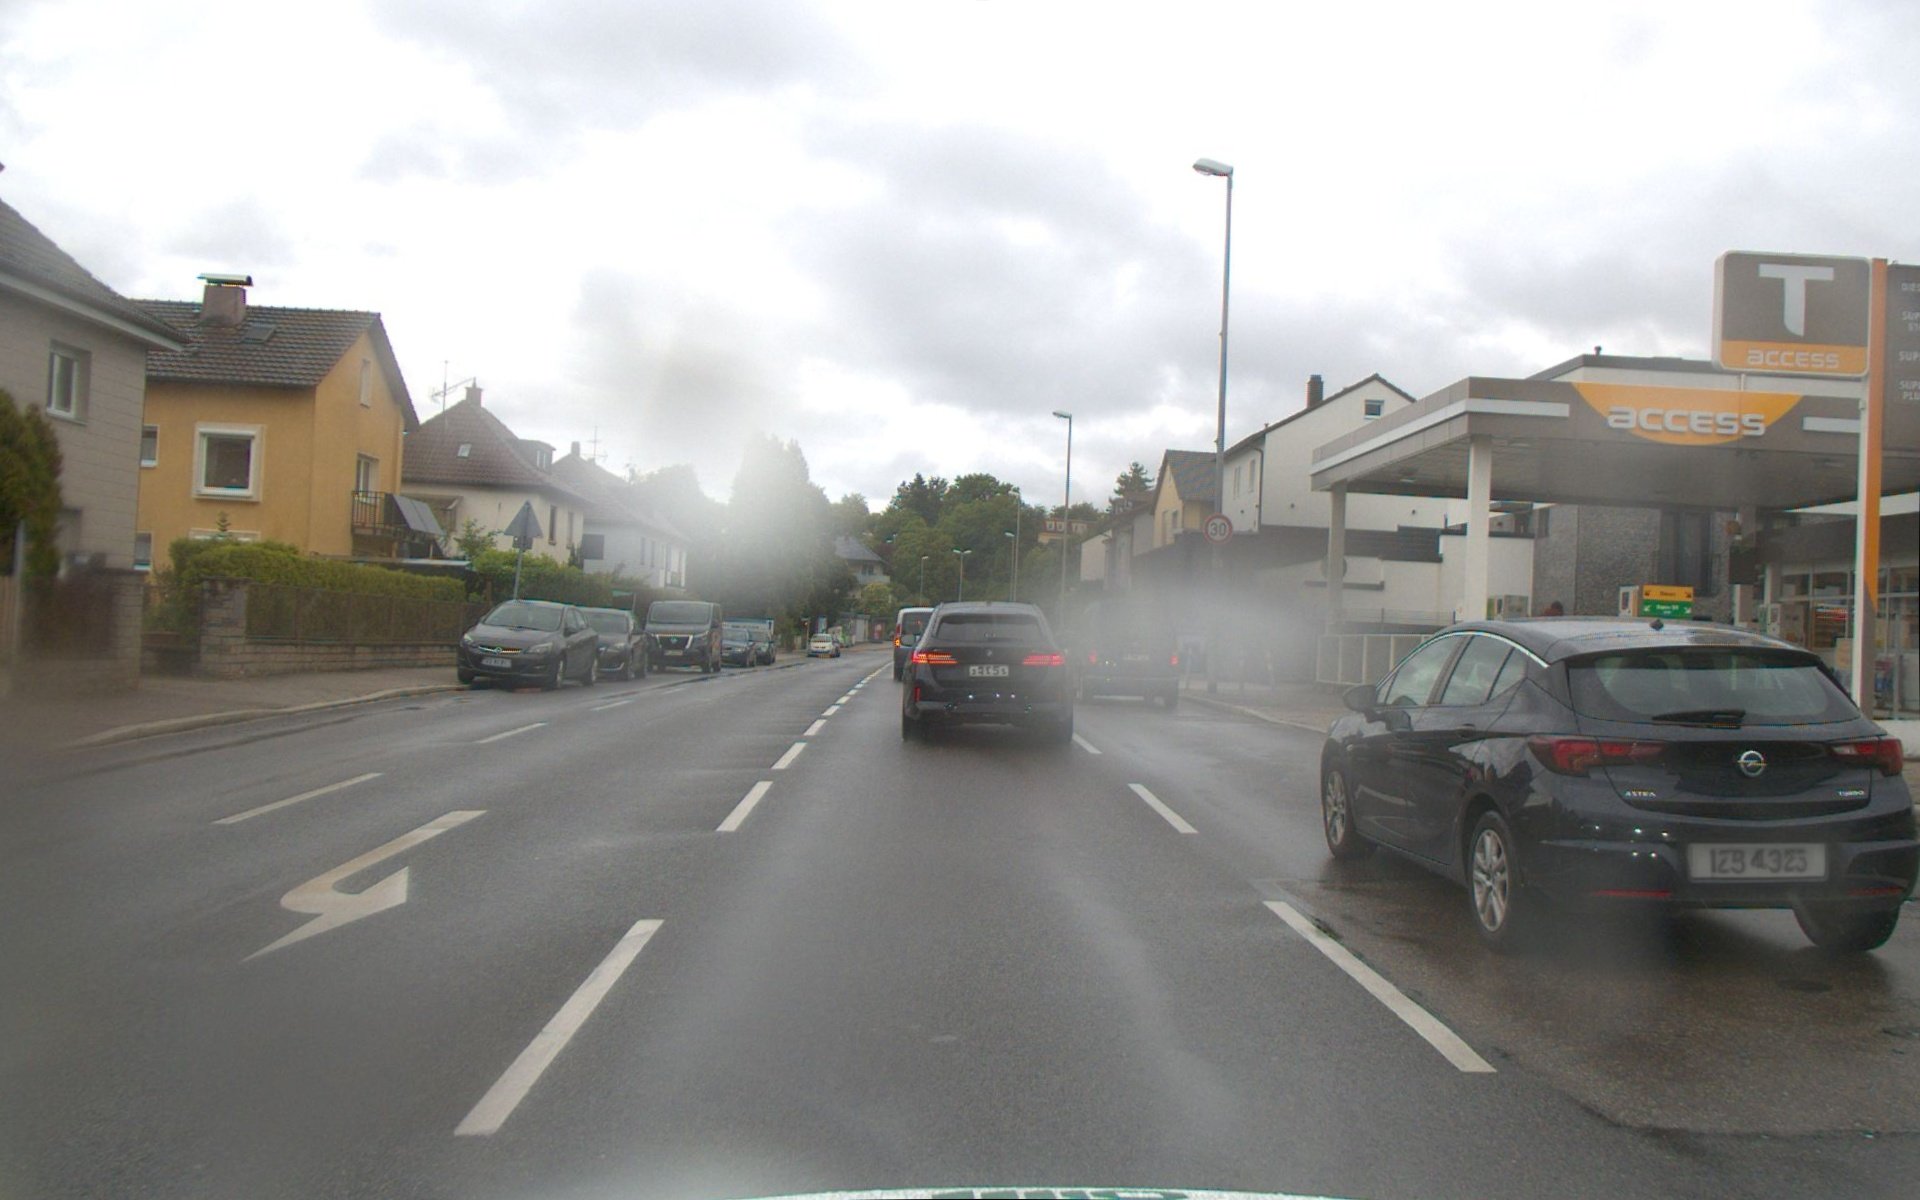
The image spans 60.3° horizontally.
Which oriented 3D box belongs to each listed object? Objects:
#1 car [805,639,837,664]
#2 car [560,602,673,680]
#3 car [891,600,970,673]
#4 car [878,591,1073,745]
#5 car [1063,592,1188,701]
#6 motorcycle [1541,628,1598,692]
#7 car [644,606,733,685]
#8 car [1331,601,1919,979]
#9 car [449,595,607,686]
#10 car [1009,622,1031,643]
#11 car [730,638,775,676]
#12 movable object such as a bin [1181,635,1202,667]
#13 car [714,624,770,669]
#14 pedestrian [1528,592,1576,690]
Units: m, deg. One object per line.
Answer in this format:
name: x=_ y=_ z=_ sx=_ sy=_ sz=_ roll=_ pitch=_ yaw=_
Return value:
car: x=-9.593 y=3.556 z=114.528 sx=1.846 sy=1.613 sz=3.999 roll=2 pitch=-2 yaw=-1
car: x=-7.460 y=0.904 z=36.306 sx=1.715 sy=1.543 sz=4.524 roll=2 pitch=-2 yaw=-3
car: x=-0.770 y=0.986 z=43.909 sx=1.953 sy=1.768 sz=3.999 roll=2 pitch=-2 yaw=-1
car: x=0.149 y=0.760 z=18.956 sx=1.953 sy=1.510 sz=3.999 roll=2 pitch=-2 yaw=0
car: x=2.946 y=0.848 z=30.172 sx=1.801 sy=1.798 sz=3.999 roll=2 pitch=-2 yaw=-1
motorcycle: x=10.654 y=1.041 z=28.951 sx=0.453 sy=1.074 sz=1.390 roll=2 pitch=-2 yaw=-1
car: x=-7.568 y=1.285 z=46.558 sx=1.875 sy=2.038 sz=5.083 roll=2 pitch=-2 yaw=-3
car: x=3.219 y=0.758 z=8.482 sx=1.720 sy=1.475 sz=4.000 roll=0 pitch=0 yaw=0
car: x=-7.666 y=0.740 z=29.745 sx=1.714 sy=1.465 sz=4.128 roll=2 pitch=-2 yaw=0
car: x=6.884 y=3.718 z=189.068 sx=2.469 sy=2.048 sz=5.610 roll=2 pitch=1 yaw=2
car: x=-8.498 y=2.316 z=67.935 sx=1.520 sy=1.456 sz=4.011 roll=2 pitch=-2 yaw=-3
movable object such as a bin: x=8.037 y=1.769 z=57.488 sx=0.583 sy=1.124 sz=0.667 roll=-1 pitch=-1 yaw=-2
car: x=-8.088 y=1.744 z=61.756 sx=1.722 sy=1.559 sz=4.283 roll=2 pitch=-2 yaw=-3
pedestrian: x=10.458 y=0.722 z=29.217 sx=0.597 sy=1.685 sz=0.585 roll=2 pitch=-2 yaw=-1
